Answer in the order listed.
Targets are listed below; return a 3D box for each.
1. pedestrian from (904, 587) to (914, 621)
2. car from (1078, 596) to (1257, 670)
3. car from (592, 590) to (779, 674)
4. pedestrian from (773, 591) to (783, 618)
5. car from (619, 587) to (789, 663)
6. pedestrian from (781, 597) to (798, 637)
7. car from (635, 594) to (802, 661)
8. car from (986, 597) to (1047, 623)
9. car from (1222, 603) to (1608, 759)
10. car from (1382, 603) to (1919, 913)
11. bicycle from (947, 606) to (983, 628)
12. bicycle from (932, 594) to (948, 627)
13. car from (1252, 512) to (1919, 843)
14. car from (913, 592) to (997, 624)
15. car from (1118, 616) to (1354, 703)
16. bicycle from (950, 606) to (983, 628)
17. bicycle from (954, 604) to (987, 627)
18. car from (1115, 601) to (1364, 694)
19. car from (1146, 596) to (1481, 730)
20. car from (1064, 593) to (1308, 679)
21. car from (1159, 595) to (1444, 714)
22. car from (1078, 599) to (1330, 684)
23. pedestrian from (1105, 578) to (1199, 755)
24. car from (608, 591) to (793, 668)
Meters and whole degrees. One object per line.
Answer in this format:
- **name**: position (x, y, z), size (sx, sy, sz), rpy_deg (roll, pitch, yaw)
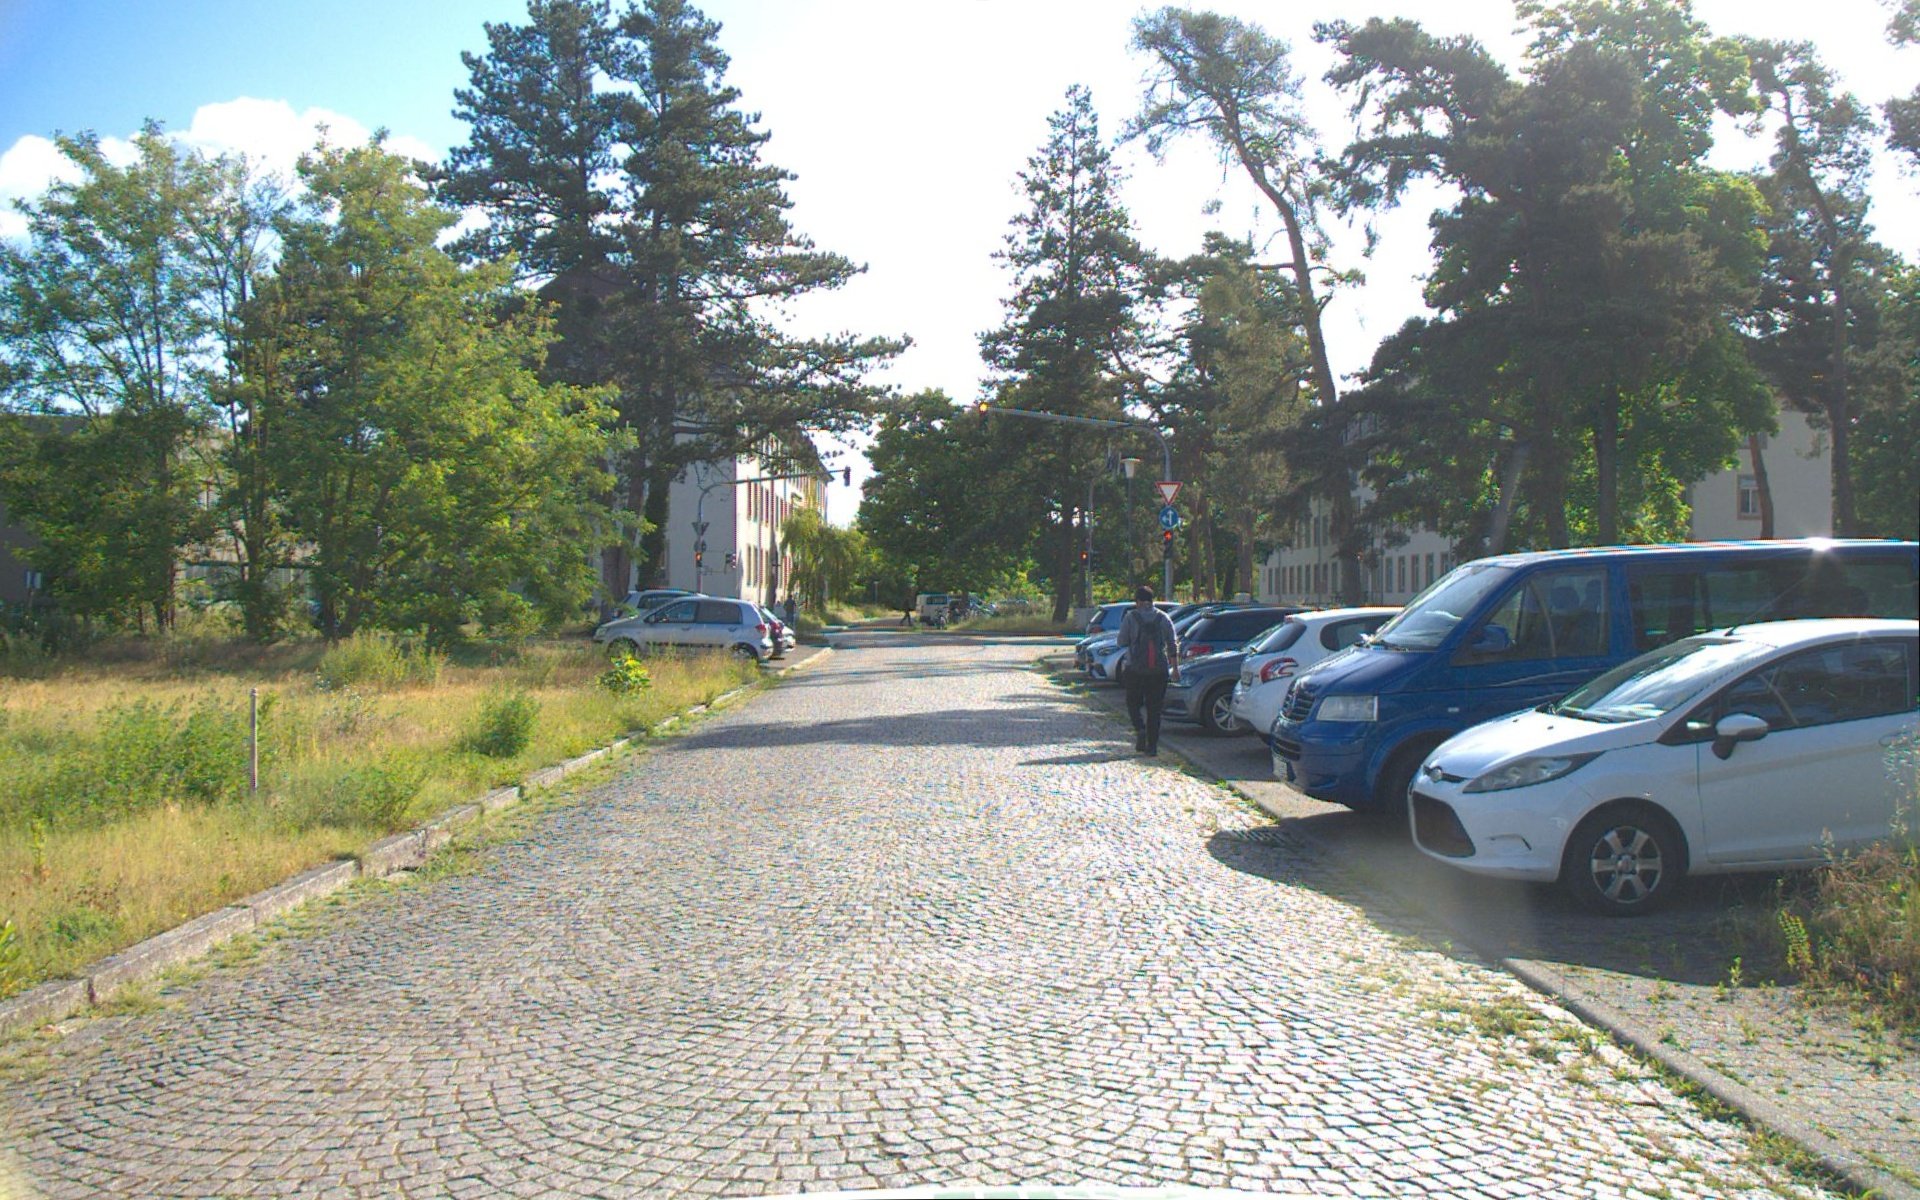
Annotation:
- **pedestrian**: position (-3.086, 0.263, 100.155), size (0.582, 2.049, 0.572), rpy_deg (0, 0, 0)
- **car**: position (4.431, 0.694, 35.597), size (3.598, 1.468, 1.665), rpy_deg (-2, 0, -1)
- **car**: position (-5.686, 0.657, 34.574), size (3.612, 1.554, 1.698), rpy_deg (2, 0, -4)
- **pedestrian**: position (-10.800, 0.277, 98.193), size (0.595, 1.587, 0.544), rpy_deg (0, 0, -8)
- **car**: position (-6.125, 0.584, 39.866), size (3.802, 1.643, 1.660), rpy_deg (2, 0, -2)
- **pedestrian**: position (-7.526, 0.752, 72.979), size (0.598, 1.783, 0.626), rpy_deg (0, 0, -20)
- **car**: position (-6.178, 0.687, 42.620), size (3.903, 1.522, 1.773), rpy_deg (2, 0, 4)
- **car**: position (3.635, 0.627, 106.352), size (3.673, 1.607, 1.738), rpy_deg (0, 0, -8)
- **car**: position (4.645, 0.803, 17.215), size (3.570, 1.518, 1.634), rpy_deg (0, 0, -1)
- **car**: position (4.435, 0.804, 9.340), size (3.646, 1.492, 1.609), rpy_deg (-1, 0, -3)
- **bicycle**: position (0.273, 0.857, 84.467), size (1.798, 1.132, 0.495), rpy_deg (0, 0, -5)
- **bicycle**: position (-0.997, 0.501, 81.190), size (0.738, 1.608, 2.536), rpy_deg (0, 0, -1)
- **car**: position (4.648, 0.497, 11.972), size (4.657, 2.049, 2.000), rpy_deg (-2, 0, -1)
- **car**: position (-0.328, 0.468, 102.345), size (4.975, 1.952, 1.995), rpy_deg (0, 0, -11)
- **car**: position (4.220, 0.902, 25.605), size (3.390, 1.264, 1.536), rpy_deg (0, 0, -1)
- **bicycle**: position (0.331, 0.858, 85.013), size (1.693, 1.132, 0.483), rpy_deg (0, 0, -5)
- **bicycle**: position (0.553, 0.822, 85.698), size (1.693, 1.185, 0.560), rpy_deg (0, 0, -5)
- **car**: position (4.676, 0.776, 28.003), size (3.899, 1.474, 1.655), rpy_deg (-1, 0, -2)
- **car**: position (4.213, 0.738, 20.139), size (3.703, 1.476, 1.758), rpy_deg (-1, 0, 0)
- **car**: position (4.459, 0.689, 33.060), size (4.528, 1.481, 1.869), rpy_deg (-2, 0, -3)
- **car**: position (4.696, 0.733, 23.075), size (3.589, 1.480, 1.666), rpy_deg (-2, 0, -1)
- **car**: position (4.431, 0.740, 30.417), size (4.310, 1.413, 1.788), rpy_deg (-1, 0, -2)
- **pedestrian**: position (2.005, 0.685, 17.350), size (0.738, 1.755, 0.828), rpy_deg (5, 0, -1)
- **car**: position (-5.793, 0.647, 37.234), size (3.858, 1.470, 1.690), rpy_deg (3, 0, -2)
